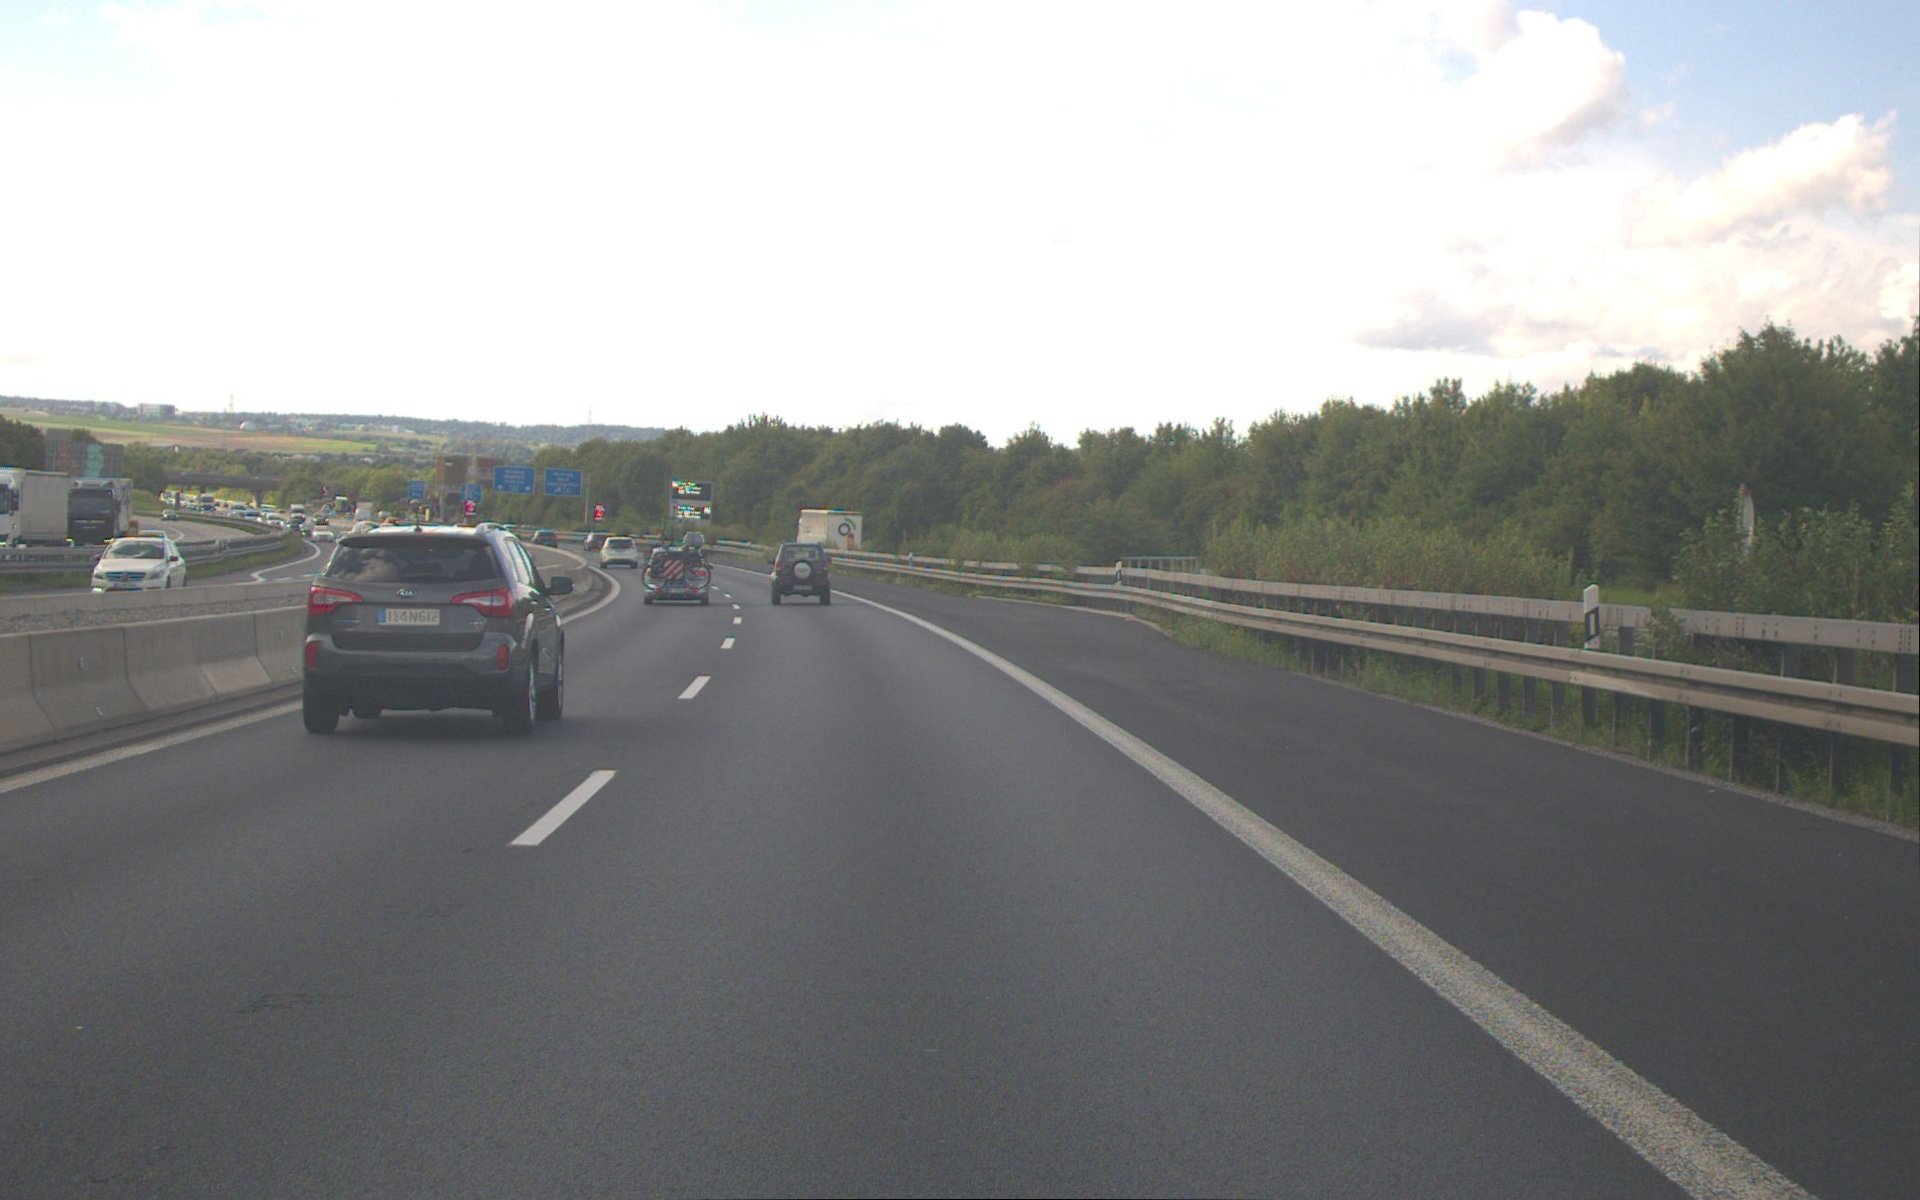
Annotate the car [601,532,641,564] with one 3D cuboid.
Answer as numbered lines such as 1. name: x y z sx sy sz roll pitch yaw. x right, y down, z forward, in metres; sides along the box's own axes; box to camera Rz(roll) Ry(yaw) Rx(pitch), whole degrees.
1. car: -18.589 -2.841 188.640 1.993 1.678 4.001 1 0 -8

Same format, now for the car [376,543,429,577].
1. car: -25.187 -1.795 155.435 1.874 1.442 5.123 1 0 -4

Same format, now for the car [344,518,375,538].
1. car: -43.841 -5.266 251.023 1.993 1.397 4.814 1 1 -7

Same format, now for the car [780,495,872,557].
1. car: -10.007 -5.453 255.233 4.727 4.251 11.407 1 0 -13

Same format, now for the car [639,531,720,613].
1. car: -7.658 -0.782 94.141 2.030 2.144 4.001 1 1 -2

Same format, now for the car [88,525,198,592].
1. car: -19.697 -0.983 83.000 1.712 1.522 4.767 1 0 -3

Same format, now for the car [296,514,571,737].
1. car: -4.432 0.174 29.641 1.817 1.730 5.187 1 1 -3

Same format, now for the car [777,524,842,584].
1. car: -4.224 -1.300 96.152 1.587 1.591 4.096 1 1 -5

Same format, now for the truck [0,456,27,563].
1. truck: -40.730 -3.702 141.928 3.320 4.278 6.750 1 0 -7

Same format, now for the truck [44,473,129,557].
1. truck: -44.641 -4.299 175.918 2.901 3.955 10.466 1 0 -7
